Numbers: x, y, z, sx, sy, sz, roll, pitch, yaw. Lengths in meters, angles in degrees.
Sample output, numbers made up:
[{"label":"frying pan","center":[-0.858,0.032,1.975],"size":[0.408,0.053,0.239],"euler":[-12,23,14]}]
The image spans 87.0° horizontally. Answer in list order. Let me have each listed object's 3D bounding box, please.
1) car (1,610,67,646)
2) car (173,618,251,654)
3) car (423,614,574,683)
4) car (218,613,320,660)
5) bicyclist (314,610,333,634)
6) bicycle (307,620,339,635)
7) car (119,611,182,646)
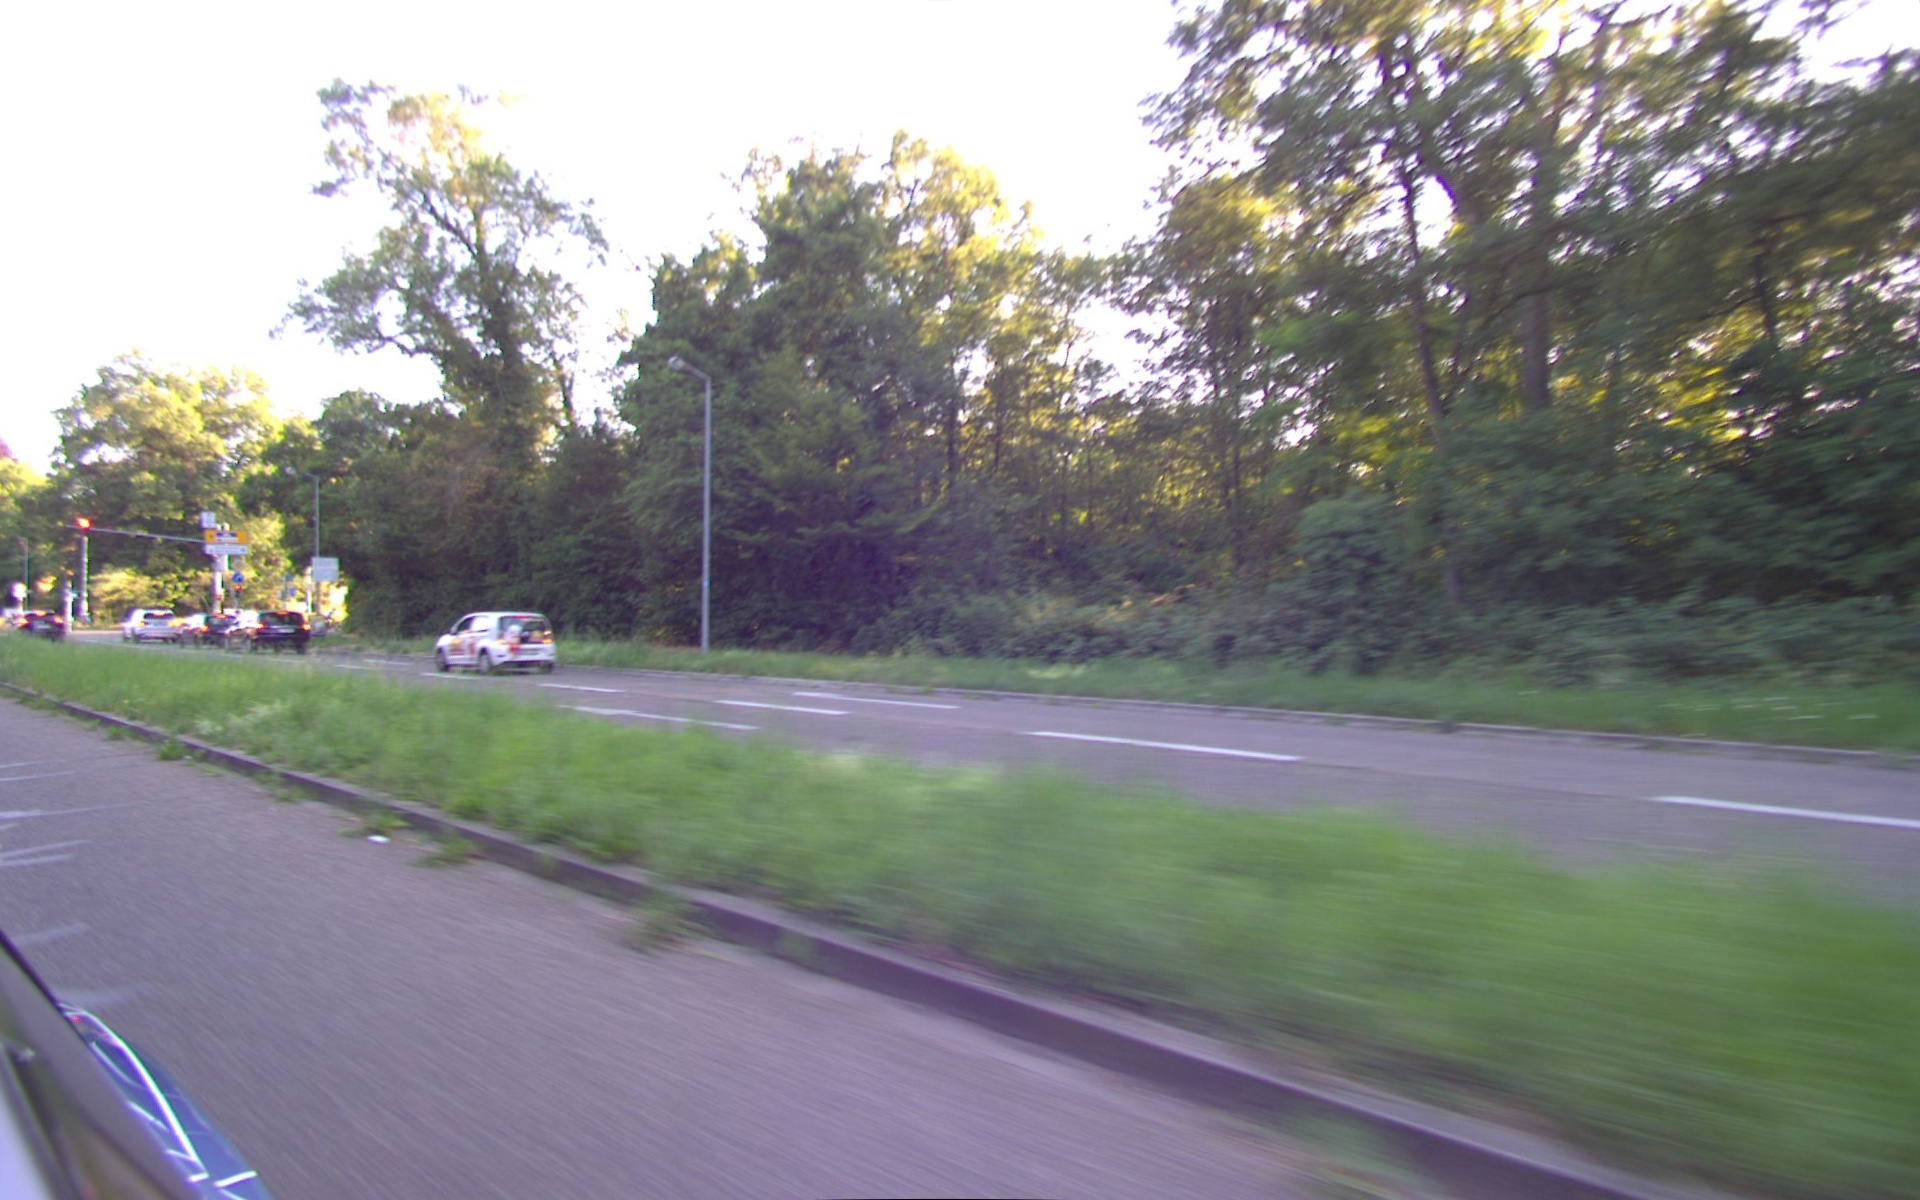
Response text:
[{"label":"car","center":[-44.522,1.331,48.625],"size":[4.448,1.640,1.795],"euler":[-1,-3,41]},{"label":"car","center":[-32.470,1.526,43.891],"size":[4.230,1.491,1.804],"euler":[-1,-3,41]},{"label":"car","center":[-11.354,1.121,24.808],"size":[3.809,1.469,1.973],"euler":[1,0,41]},{"label":"car","center":[-25.822,1.345,37.760],"size":[4.648,1.640,1.973],"euler":[-1,-3,41]},{"label":"bicyclist","center":[-42.265,1.436,67.216],"size":[0.553,1.581,0.889],"euler":[-1,-1,30]},{"label":"bicycle","center":[-42.278,1.825,67.180],"size":[0.563,1.022,1.784],"euler":[-1,-1,29]},{"label":"car","center":[-40.662,1.429,50.770],"size":[4.642,1.625,1.801],"euler":[-1,-3,44]}]
